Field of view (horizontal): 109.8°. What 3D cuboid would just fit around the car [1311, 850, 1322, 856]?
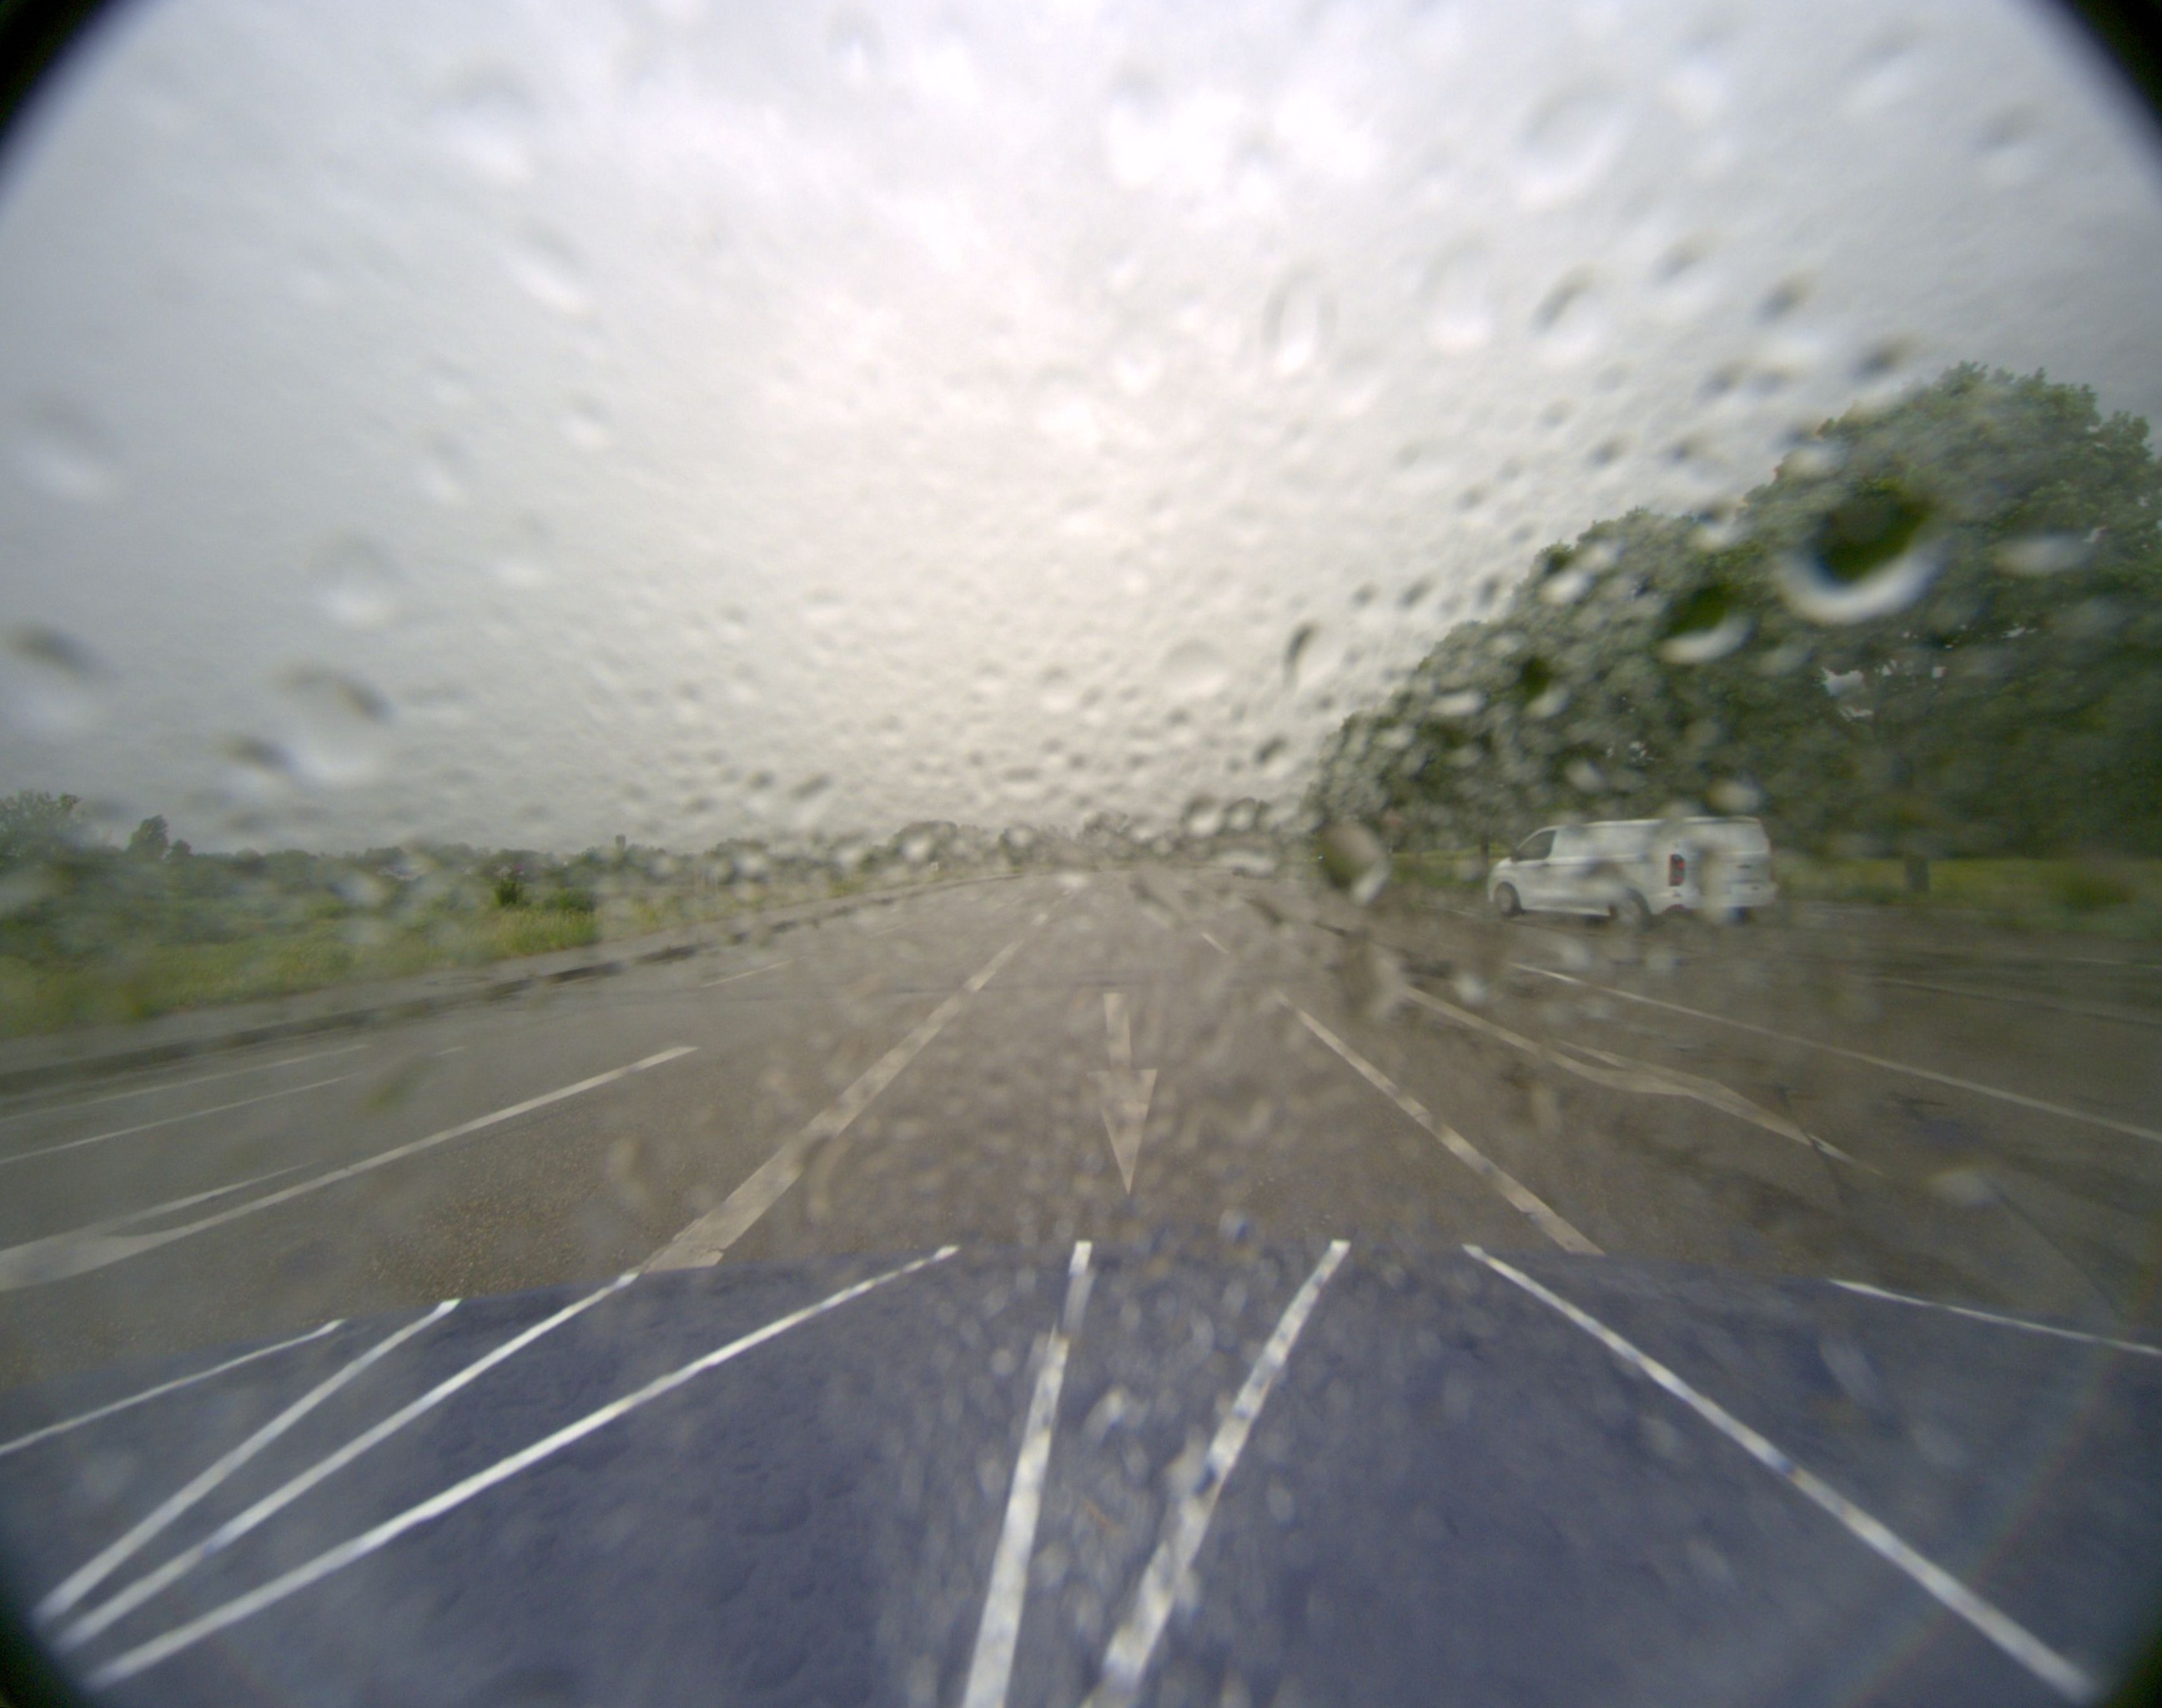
[{"bbox_3d":[61.455,-0.318,198.379,1.912,1.576,4.110,-1,1,29],"label":"car"}]

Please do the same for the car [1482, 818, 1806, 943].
[{"bbox_3d":[10.053,0.409,14.204,2.113,1.881,4.787,-2,0,-8],"label":"car"}]
